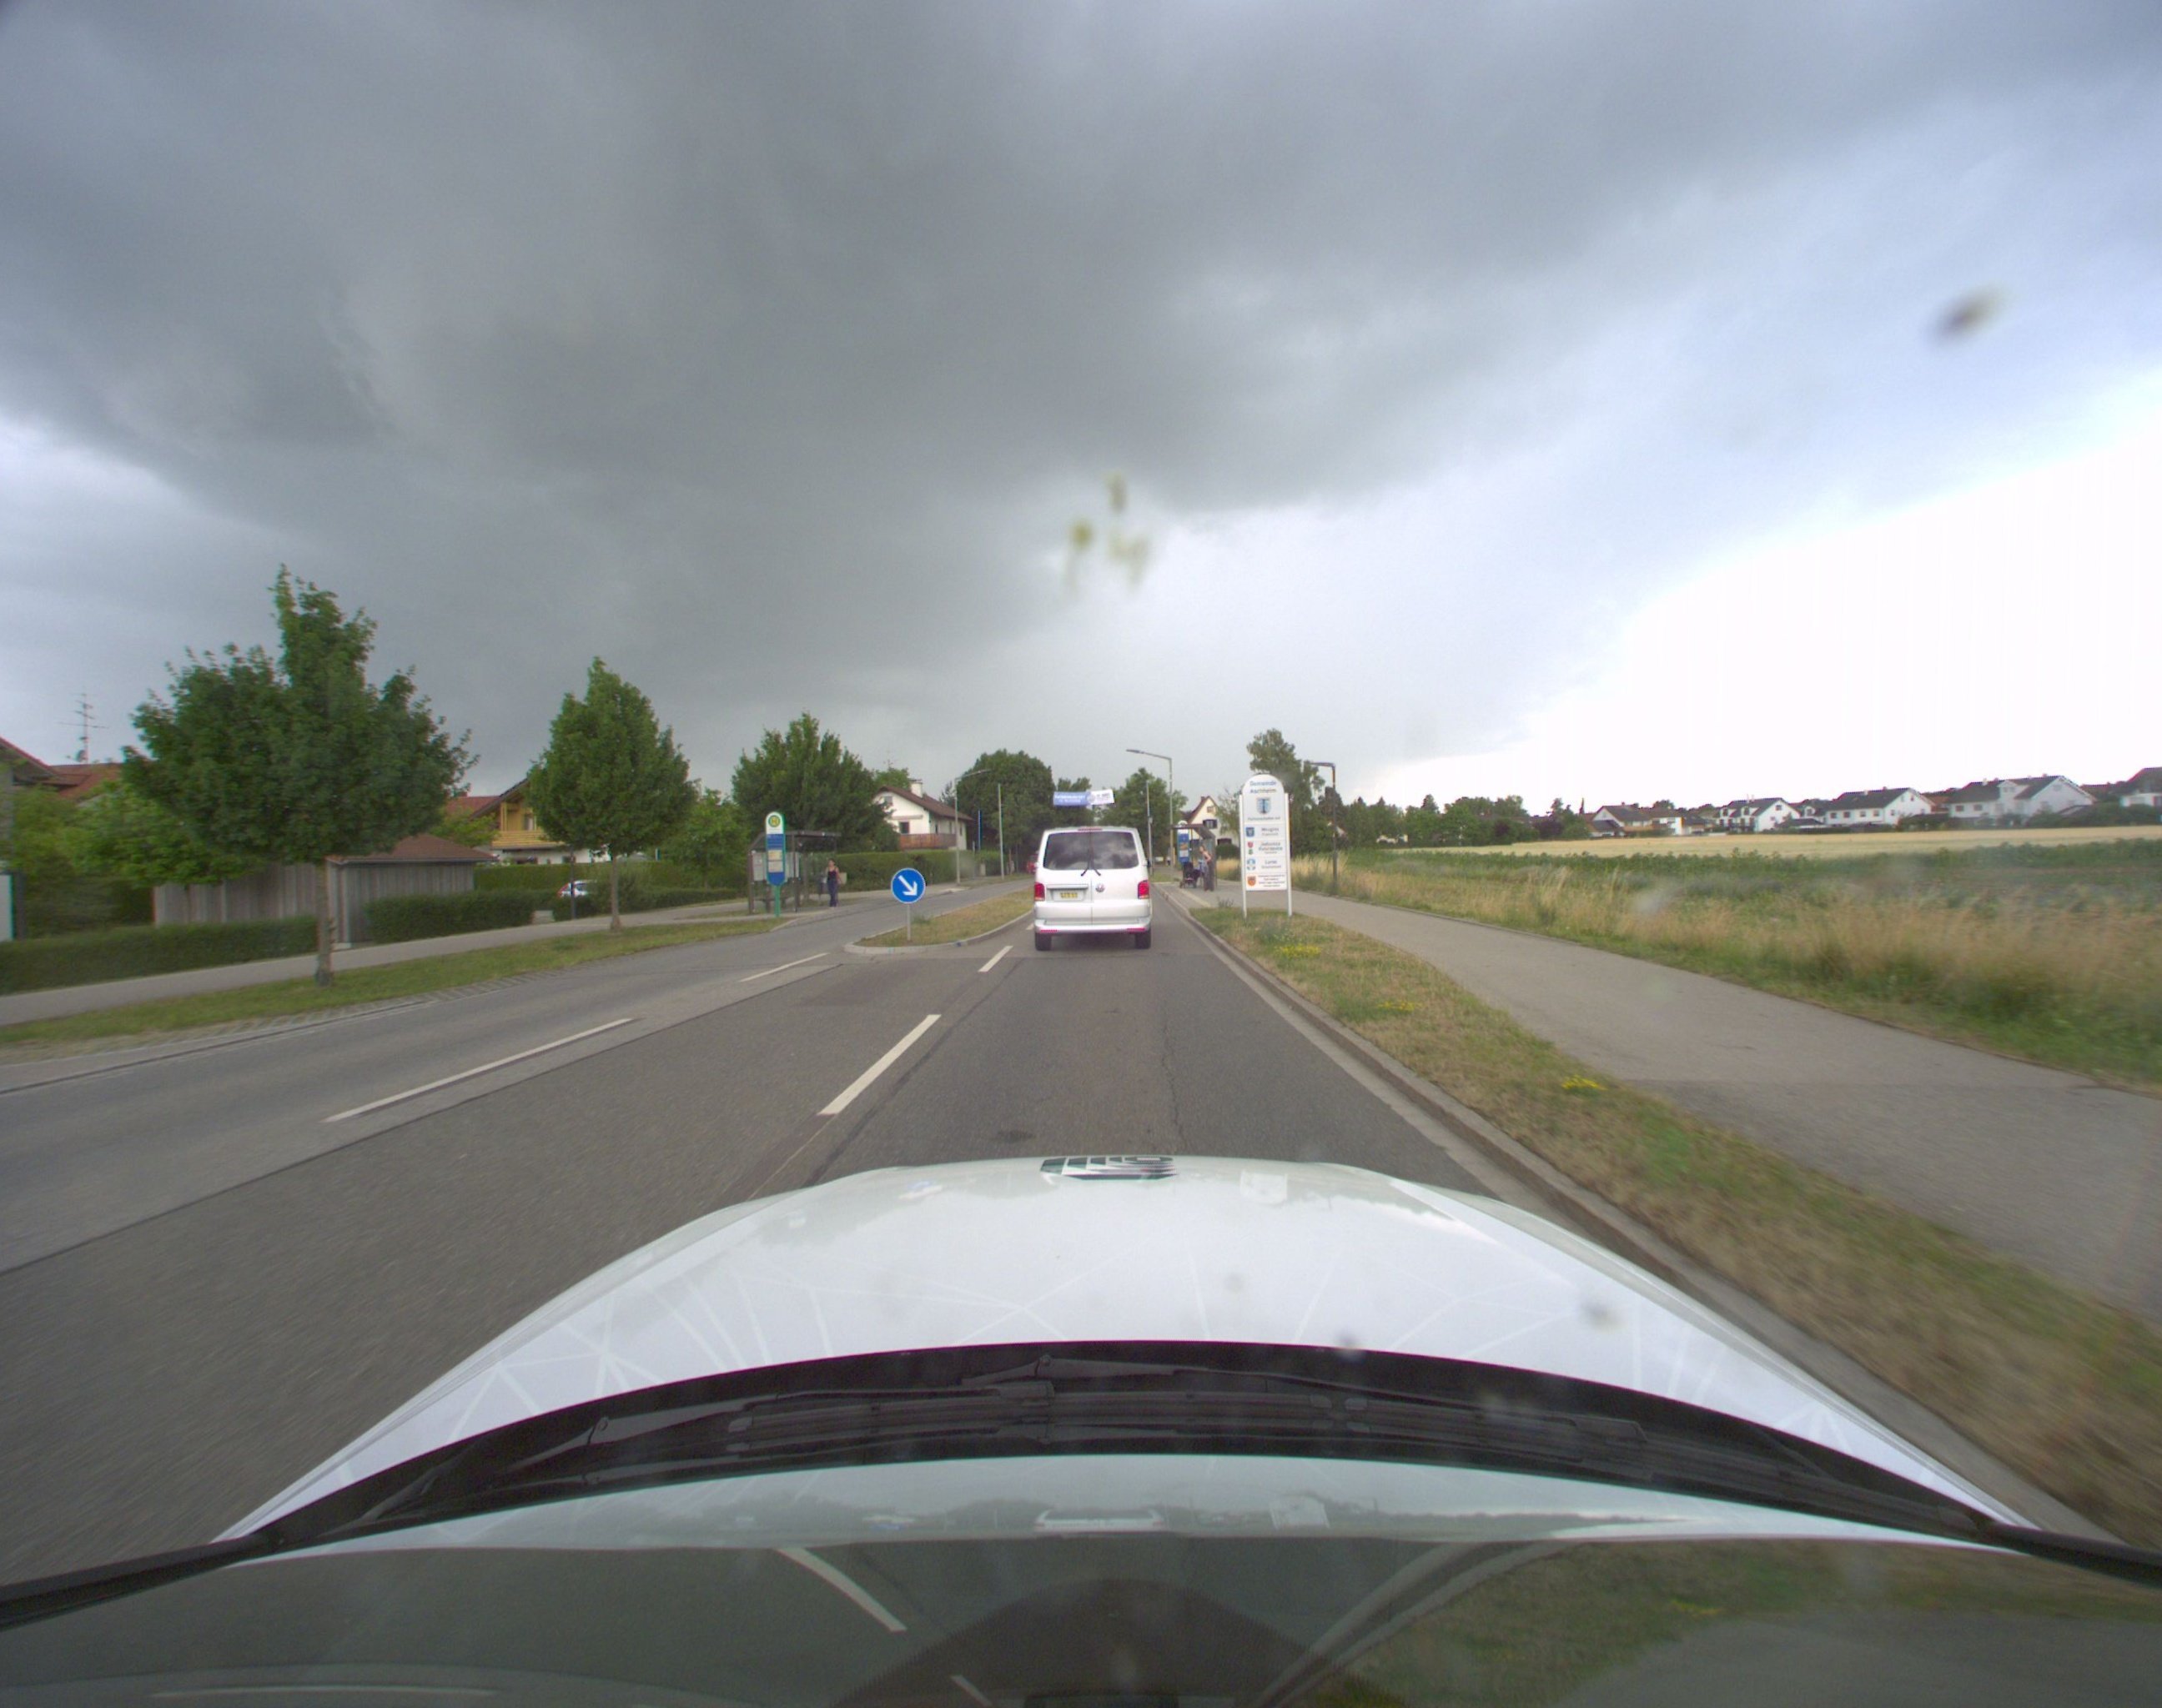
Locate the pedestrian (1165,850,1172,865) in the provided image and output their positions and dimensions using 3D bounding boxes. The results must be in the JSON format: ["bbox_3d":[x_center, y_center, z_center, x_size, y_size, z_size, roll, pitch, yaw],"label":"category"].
[{"bbox_3d":[10.296,0.412,95.597,0.833,1.755,0.871,-1,-1,7],"label":"pedestrian"}]

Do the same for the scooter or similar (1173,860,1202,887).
[{"bbox_3d":[4.304,0.766,32.885,0.699,1.062,1.067,-1,-1,39],"label":"scooter or similar"}]

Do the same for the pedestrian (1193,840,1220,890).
[{"bbox_3d":[4.578,0.407,29.646,0.774,1.792,0.783,0,-1,23],"label":"pedestrian"}]

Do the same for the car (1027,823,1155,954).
[{"bbox_3d":[0.212,0.532,14.149,1.881,1.912,4.001,-1,-1,2],"label":"car"}]

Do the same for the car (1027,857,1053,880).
[{"bbox_3d":[-3.772,1.266,75.354,1.822,2.030,5.050,0,0,3],"label":"car"}]

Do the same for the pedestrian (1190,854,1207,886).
[{"bbox_3d":[4.817,0.649,33.382,0.660,1.302,0.506,0,-1,11],"label":"pedestrian"}]

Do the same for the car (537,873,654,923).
[{"bbox_3d":[-21.729,1.928,36.561,3.974,2.013,2.000,-2,0,0],"label":"car"}]

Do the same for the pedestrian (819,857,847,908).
[{"bbox_3d":[-8.129,0.918,26.708,0.586,1.636,0.813,-2,0,2],"label":"pedestrian"}]
